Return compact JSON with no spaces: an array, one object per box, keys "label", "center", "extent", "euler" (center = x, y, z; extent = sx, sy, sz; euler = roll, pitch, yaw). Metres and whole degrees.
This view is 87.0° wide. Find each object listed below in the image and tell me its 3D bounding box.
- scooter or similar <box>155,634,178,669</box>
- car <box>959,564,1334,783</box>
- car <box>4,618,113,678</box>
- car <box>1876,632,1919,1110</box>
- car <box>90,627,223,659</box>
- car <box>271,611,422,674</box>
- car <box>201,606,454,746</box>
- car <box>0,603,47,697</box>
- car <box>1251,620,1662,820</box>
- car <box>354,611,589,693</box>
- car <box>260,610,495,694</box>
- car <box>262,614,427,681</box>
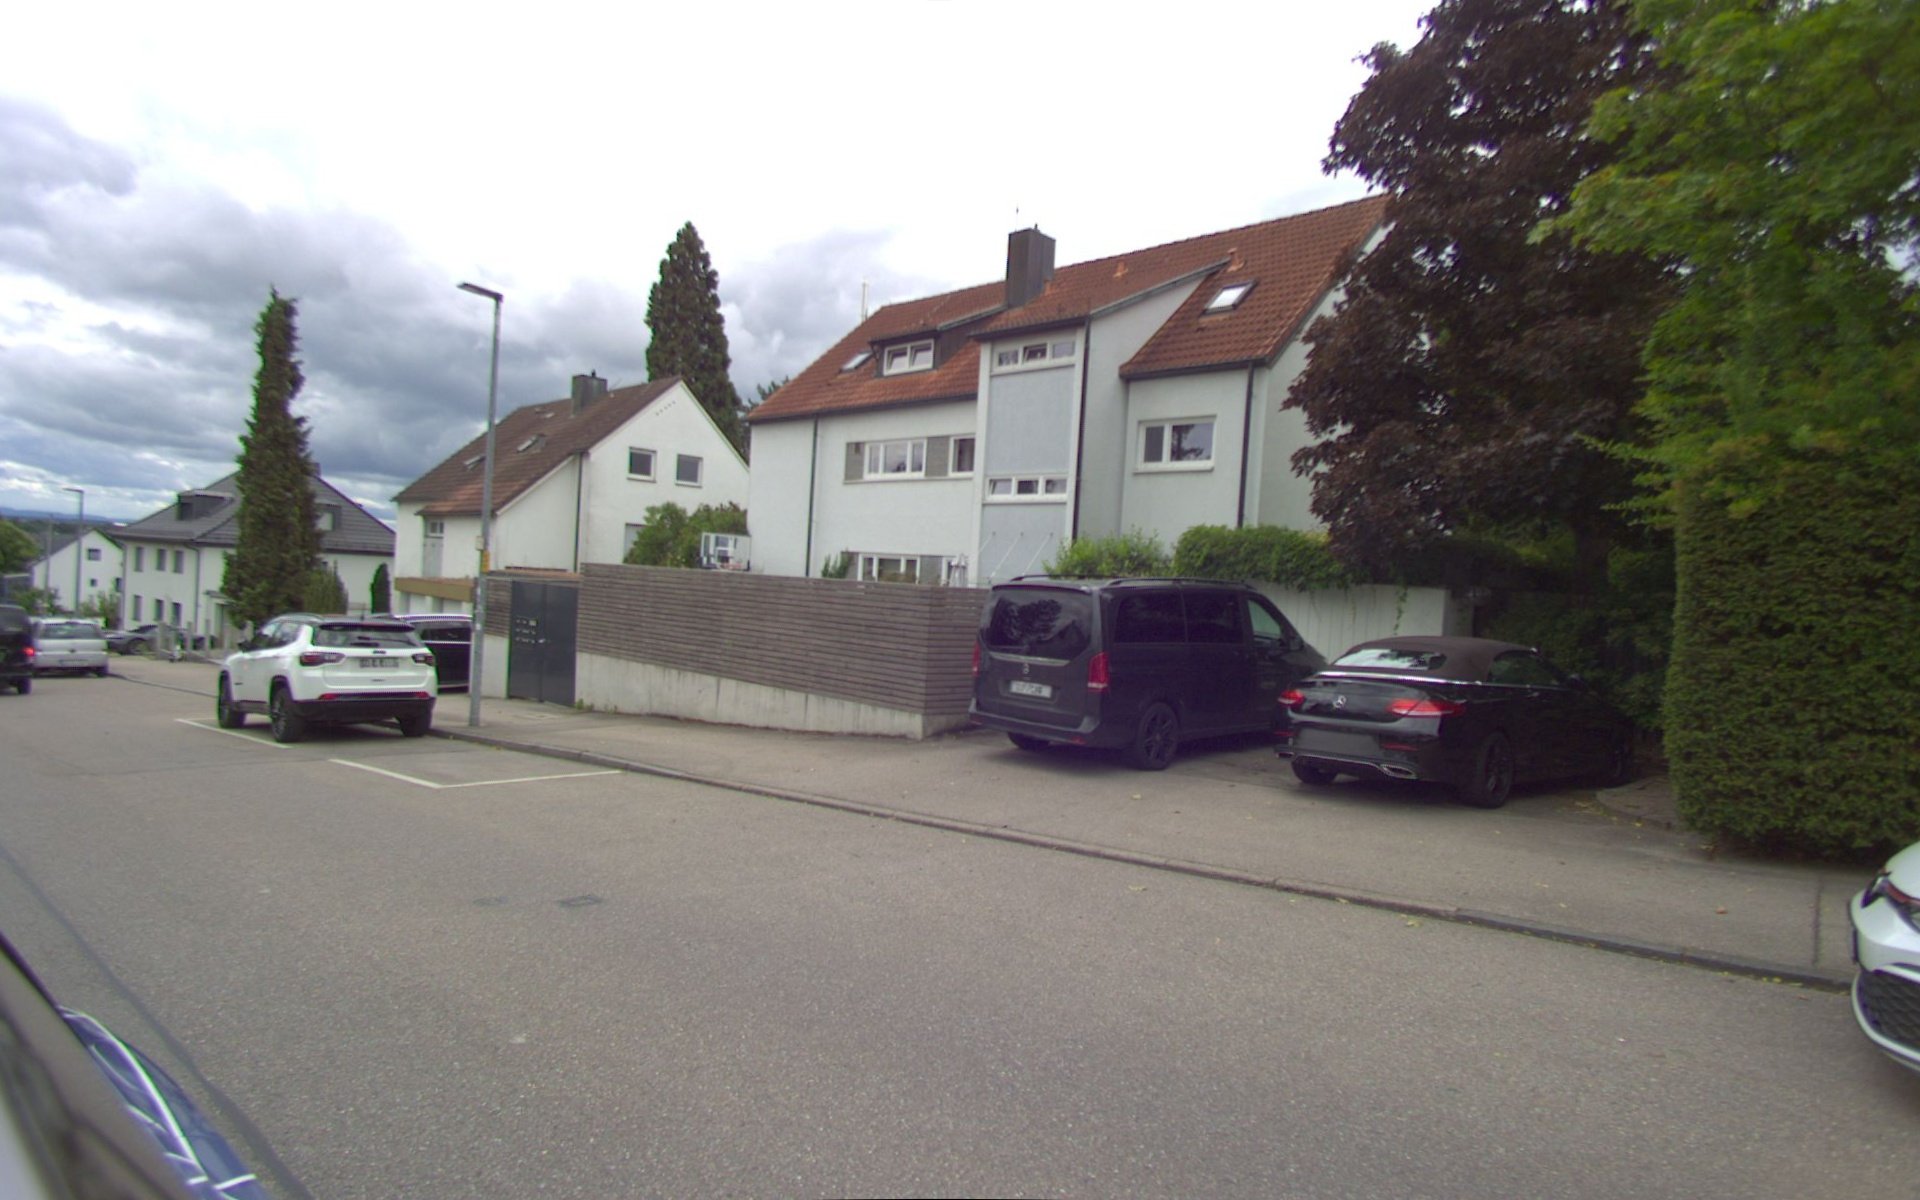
[{"label":"scooter or similar","center":[-27.014,1.743,34.454],"extent":[0.468,1.157,1.458],"euler":[-1,0,-33]},{"label":"car","center":[2.168,0.700,11.178],"extent":[4.022,1.964,2.003],"euler":[2,-1,-41]},{"label":"car","center":[-25.378,1.326,28.449],"extent":[3.853,1.575,1.742],"euler":[-1,-3,41]},{"label":"car","center":[4.987,0.820,2.146],"extent":[4.405,1.433,1.818],"euler":[-1,-4,40]},{"label":"car","center":[-35.695,1.881,45.056],"extent":[1.900,1.378,4.249],"euler":[-1,-2,35]},{"label":"car","center":[-17.652,1.172,29.222],"extent":[1.656,1.590,3.393],"euler":[0,1,42]},{"label":"car","center":[-9.020,0.990,14.288],"extent":[4.407,1.679,1.818],"euler":[-1,-4,42]},{"label":"car","center":[-20.965,1.012,21.388],"extent":[4.398,1.865,1.866],"euler":[-1,-3,41]},{"label":"car","center":[4.651,0.912,9.290],"extent":[3.934,1.456,1.783],"euler":[1,-1,-37]},{"label":"car","center":[-10.581,1.101,22.129],"extent":[4.247,1.624,1.855],"euler":[2,-3,-44]},{"label":"car","center":[-13.519,1.121,23.713],"extent":[1.909,1.641,4.367],"euler":[-1,1,40]},{"label":"car","center":[-16.203,1.194,26.738],"extent":[1.692,1.523,3.393],"euler":[0,1,42]}]
